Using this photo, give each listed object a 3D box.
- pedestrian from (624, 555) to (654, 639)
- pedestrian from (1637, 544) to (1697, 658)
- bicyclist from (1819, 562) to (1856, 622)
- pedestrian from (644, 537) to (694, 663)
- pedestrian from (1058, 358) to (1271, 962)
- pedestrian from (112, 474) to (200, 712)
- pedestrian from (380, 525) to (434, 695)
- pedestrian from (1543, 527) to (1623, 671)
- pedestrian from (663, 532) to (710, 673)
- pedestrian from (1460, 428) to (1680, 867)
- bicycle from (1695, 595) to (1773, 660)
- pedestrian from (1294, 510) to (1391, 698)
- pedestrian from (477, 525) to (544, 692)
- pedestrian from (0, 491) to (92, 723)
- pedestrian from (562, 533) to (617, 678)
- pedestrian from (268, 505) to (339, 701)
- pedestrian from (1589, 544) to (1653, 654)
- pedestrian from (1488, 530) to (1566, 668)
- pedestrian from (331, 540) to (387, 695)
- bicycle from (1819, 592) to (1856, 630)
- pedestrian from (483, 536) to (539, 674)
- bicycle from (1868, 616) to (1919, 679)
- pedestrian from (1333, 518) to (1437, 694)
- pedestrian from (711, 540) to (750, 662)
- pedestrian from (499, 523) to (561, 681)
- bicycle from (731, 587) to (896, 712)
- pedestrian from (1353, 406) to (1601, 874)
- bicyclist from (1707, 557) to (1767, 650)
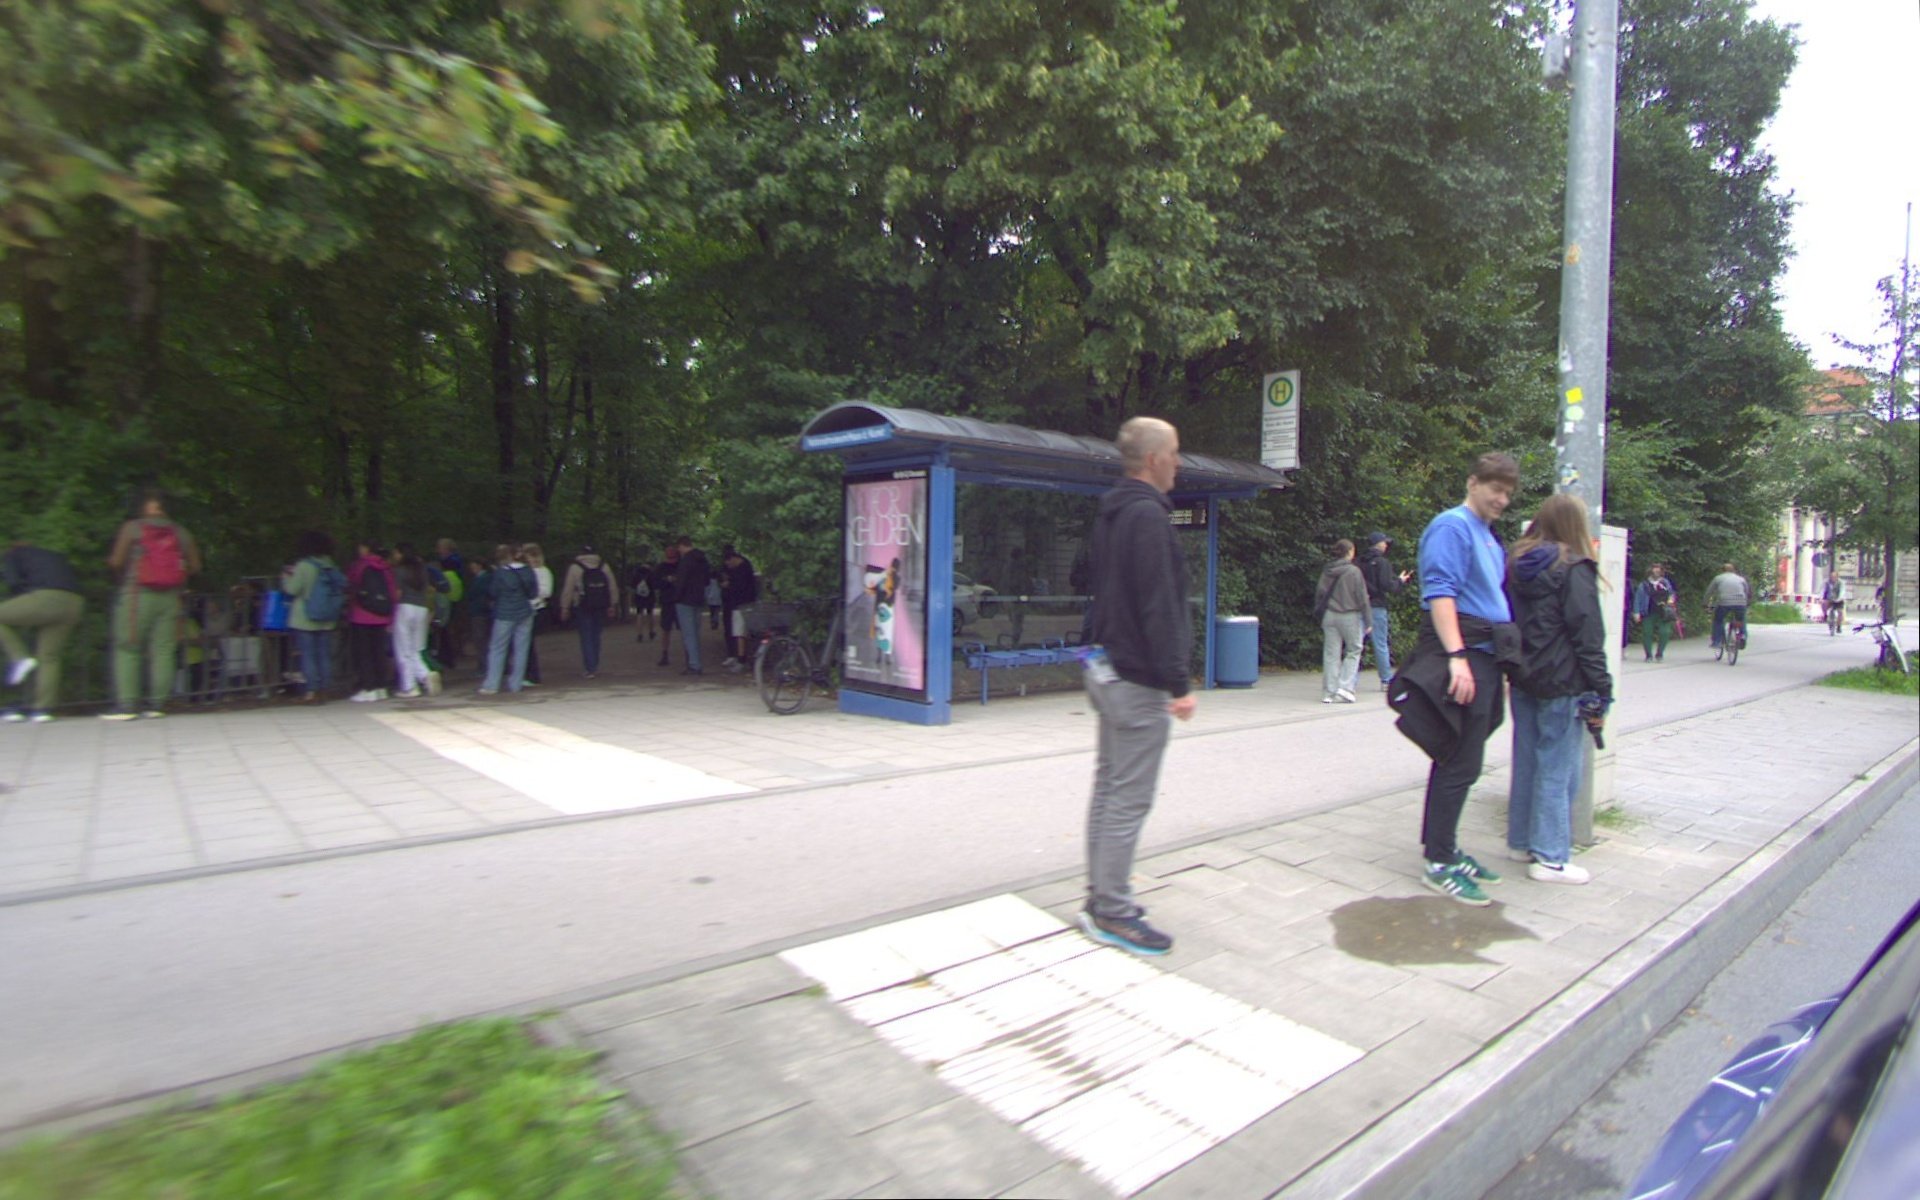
[{"bbox_3d":[-6.984,-0.064,22.057,0.522,1.790,0.639,0,0,-9],"label":"pedestrian"},{"bbox_3d":[11.878,0.004,17.001,0.629,1.862,0.672,0,0,-39],"label":"pedestrian"},{"bbox_3d":[25.475,-0.235,29.387,0.755,1.688,0.887,0,0,37],"label":"bicyclist"},{"bbox_3d":[-4.303,-0.005,14.983,0.522,1.790,0.639,4,0,-9],"label":"pedestrian"},{"bbox_3d":[0.688,0.182,3.612,0.533,1.904,0.806,0,0,-4],"label":"pedestrian"},{"bbox_3d":[-6.354,-0.056,8.017,0.523,1.790,0.638,0,0,-38],"label":"pedestrian"},{"bbox_3d":[-5.784,0.099,10.581,0.434,1.725,0.421,0,0,-38],"label":"pedestrian"},{"bbox_3d":[8.735,-0.020,14.187,0.940,1.939,0.709,0,0,-41],"label":"pedestrian"},{"bbox_3d":[-3.567,0.025,13.236,0.522,1.790,0.639,0,0,-9],"label":"pedestrian"},{"bbox_3d":[2.821,0.192,4.691,0.627,1.831,0.709,0,0,-40],"label":"pedestrian"},{"bbox_3d":[13.342,0.447,17.416,1.977,1.043,0.676,-1,1,-41],"label":"bicycle"},{"bbox_3d":[3.893,0.034,10.309,0.627,1.831,0.709,0,0,-40],"label":"pedestrian"},{"bbox_3d":[-4.938,0.086,11.152,0.522,1.790,0.639,0,0,-9],"label":"pedestrian"},{"bbox_3d":[-6.879,0.045,7.583,0.523,1.647,0.638,0,0,-38],"label":"pedestrian"},{"bbox_3d":[-4.693,0.064,12.844,0.522,1.790,0.639,0,0,-9],"label":"pedestrian"},{"bbox_3d":[-6.295,0.023,9.699,0.523,1.790,0.638,0,0,-38],"label":"pedestrian"},{"bbox_3d":[11.527,-0.017,17.646,0.743,1.862,0.752,0,0,-39],"label":"pedestrian"},{"bbox_3d":[8.261,-0.022,14.733,0.940,1.939,0.709,0,0,-41],"label":"pedestrian"},{"bbox_3d":[-6.087,0.165,10.253,0.434,1.526,0.421,0,0,-38],"label":"pedestrian"},{"bbox_3d":[25.457,0.299,29.389,0.737,1.071,2.132,0,1,39],"label":"bicycle"},{"bbox_3d":[-5.958,0.063,13.451,0.522,1.790,0.639,0,0,-9],"label":"pedestrian"},{"bbox_3d":[13.570,0.660,14.571,1.856,0.804,0.494,-1,1,-40],"label":"bicycle"},{"bbox_3d":[4.670,0.057,11.116,0.933,1.831,0.709,0,0,-41],"label":"pedestrian"},{"bbox_3d":[-3.420,0.009,15.130,0.522,1.790,0.639,0,0,-9],"label":"pedestrian"},{"bbox_3d":[-5.013,0.017,11.817,0.522,1.790,0.639,0,0,-9],"label":"pedestrian"},{"bbox_3d":[-1.321,0.415,9.324,1.549,1.073,0.393,0,0,-41],"label":"bicycle"},{"bbox_3d":[2.160,0.152,4.300,0.696,1.831,0.639,0,0,-4],"label":"pedestrian"},{"bbox_3d":[13.470,0.053,17.536,0.627,1.581,0.709,0,0,-40],"label":"bicyclist"}]
